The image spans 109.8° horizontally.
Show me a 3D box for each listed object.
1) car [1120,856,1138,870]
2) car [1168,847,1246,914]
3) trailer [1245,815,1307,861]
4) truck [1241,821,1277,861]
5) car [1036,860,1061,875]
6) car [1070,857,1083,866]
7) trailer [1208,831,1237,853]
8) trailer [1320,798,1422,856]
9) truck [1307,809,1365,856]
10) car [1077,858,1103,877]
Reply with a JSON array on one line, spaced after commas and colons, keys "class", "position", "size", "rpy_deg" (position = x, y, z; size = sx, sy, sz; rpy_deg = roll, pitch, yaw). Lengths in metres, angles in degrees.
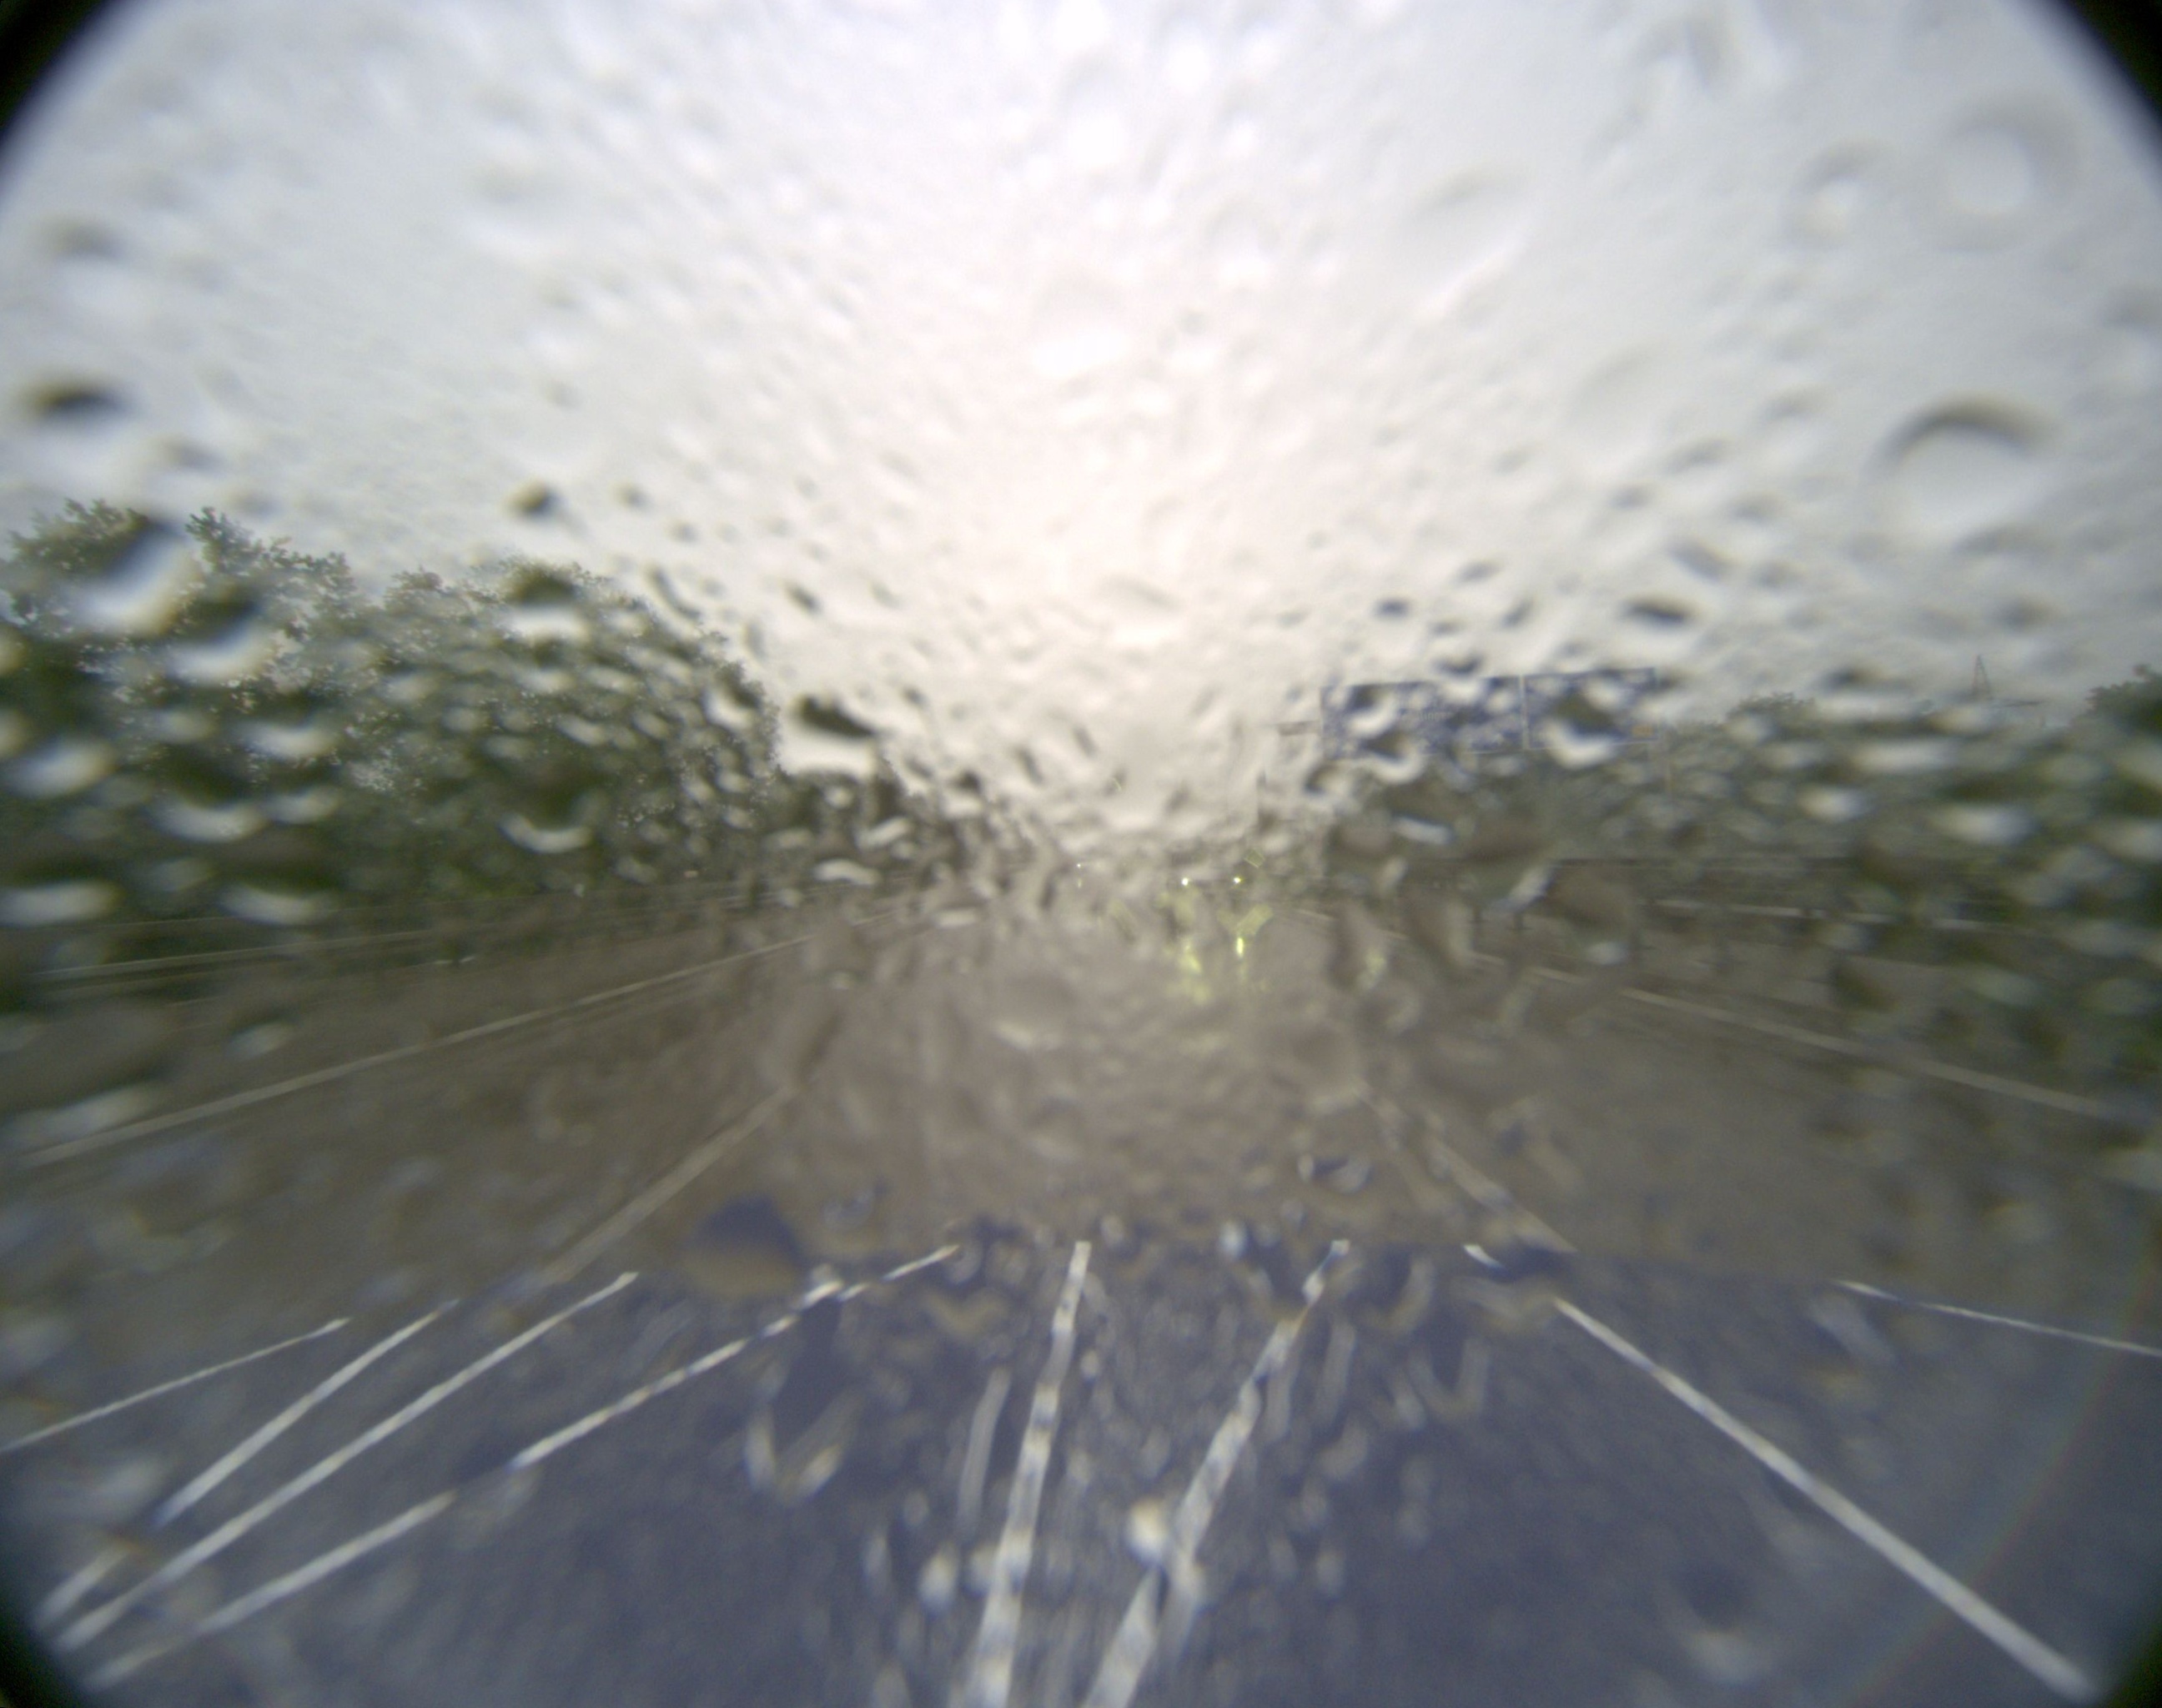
[{"class": "car", "position": [4.864, 0.905, 76.661], "size": [1.752, 1.369, 4.001], "rpy_deg": [0, 0, 4]}, {"class": "car", "position": [3.699, 0.720, 23.011], "size": [2.046, 1.763, 4.502], "rpy_deg": [-2, 0, 6]}, {"class": "trailer", "position": [17.888, -1.304, 70.869], "size": [2.338, 3.700, 13.930], "rpy_deg": [-5, 0, 2]}, {"class": "truck", "position": [18.126, -1.269, 77.713], "size": [2.362, 3.687, 4.738], "rpy_deg": [-5, 0, 2]}, {"class": "car", "position": [-3.051, 1.255, 71.512], "size": [1.752, 1.205, 4.001], "rpy_deg": [-5, 0, 4]}, {"class": "car", "position": [-0.767, 1.235, 125.351], "size": [1.752, 1.205, 4.001], "rpy_deg": [-5, 0, 4]}, {"class": "trailer", "position": [24.372, -1.998, 131.346], "size": [2.680, 3.387, 13.449], "rpy_deg": [-4, 0, 1]}, {"class": "trailer", "position": [22.166, -1.816, 59.253], "size": [2.932, 3.734, 13.542], "rpy_deg": [-5, 0, 2]}, {"class": "truck", "position": [22.540, -1.794, 67.629], "size": [2.915, 3.698, 6.509], "rpy_deg": [-5, 0, 3]}, {"class": "car", "position": [0.729, 1.043, 60.118], "size": [1.752, 1.406, 4.001], "rpy_deg": [-1, 0, 4]}]
